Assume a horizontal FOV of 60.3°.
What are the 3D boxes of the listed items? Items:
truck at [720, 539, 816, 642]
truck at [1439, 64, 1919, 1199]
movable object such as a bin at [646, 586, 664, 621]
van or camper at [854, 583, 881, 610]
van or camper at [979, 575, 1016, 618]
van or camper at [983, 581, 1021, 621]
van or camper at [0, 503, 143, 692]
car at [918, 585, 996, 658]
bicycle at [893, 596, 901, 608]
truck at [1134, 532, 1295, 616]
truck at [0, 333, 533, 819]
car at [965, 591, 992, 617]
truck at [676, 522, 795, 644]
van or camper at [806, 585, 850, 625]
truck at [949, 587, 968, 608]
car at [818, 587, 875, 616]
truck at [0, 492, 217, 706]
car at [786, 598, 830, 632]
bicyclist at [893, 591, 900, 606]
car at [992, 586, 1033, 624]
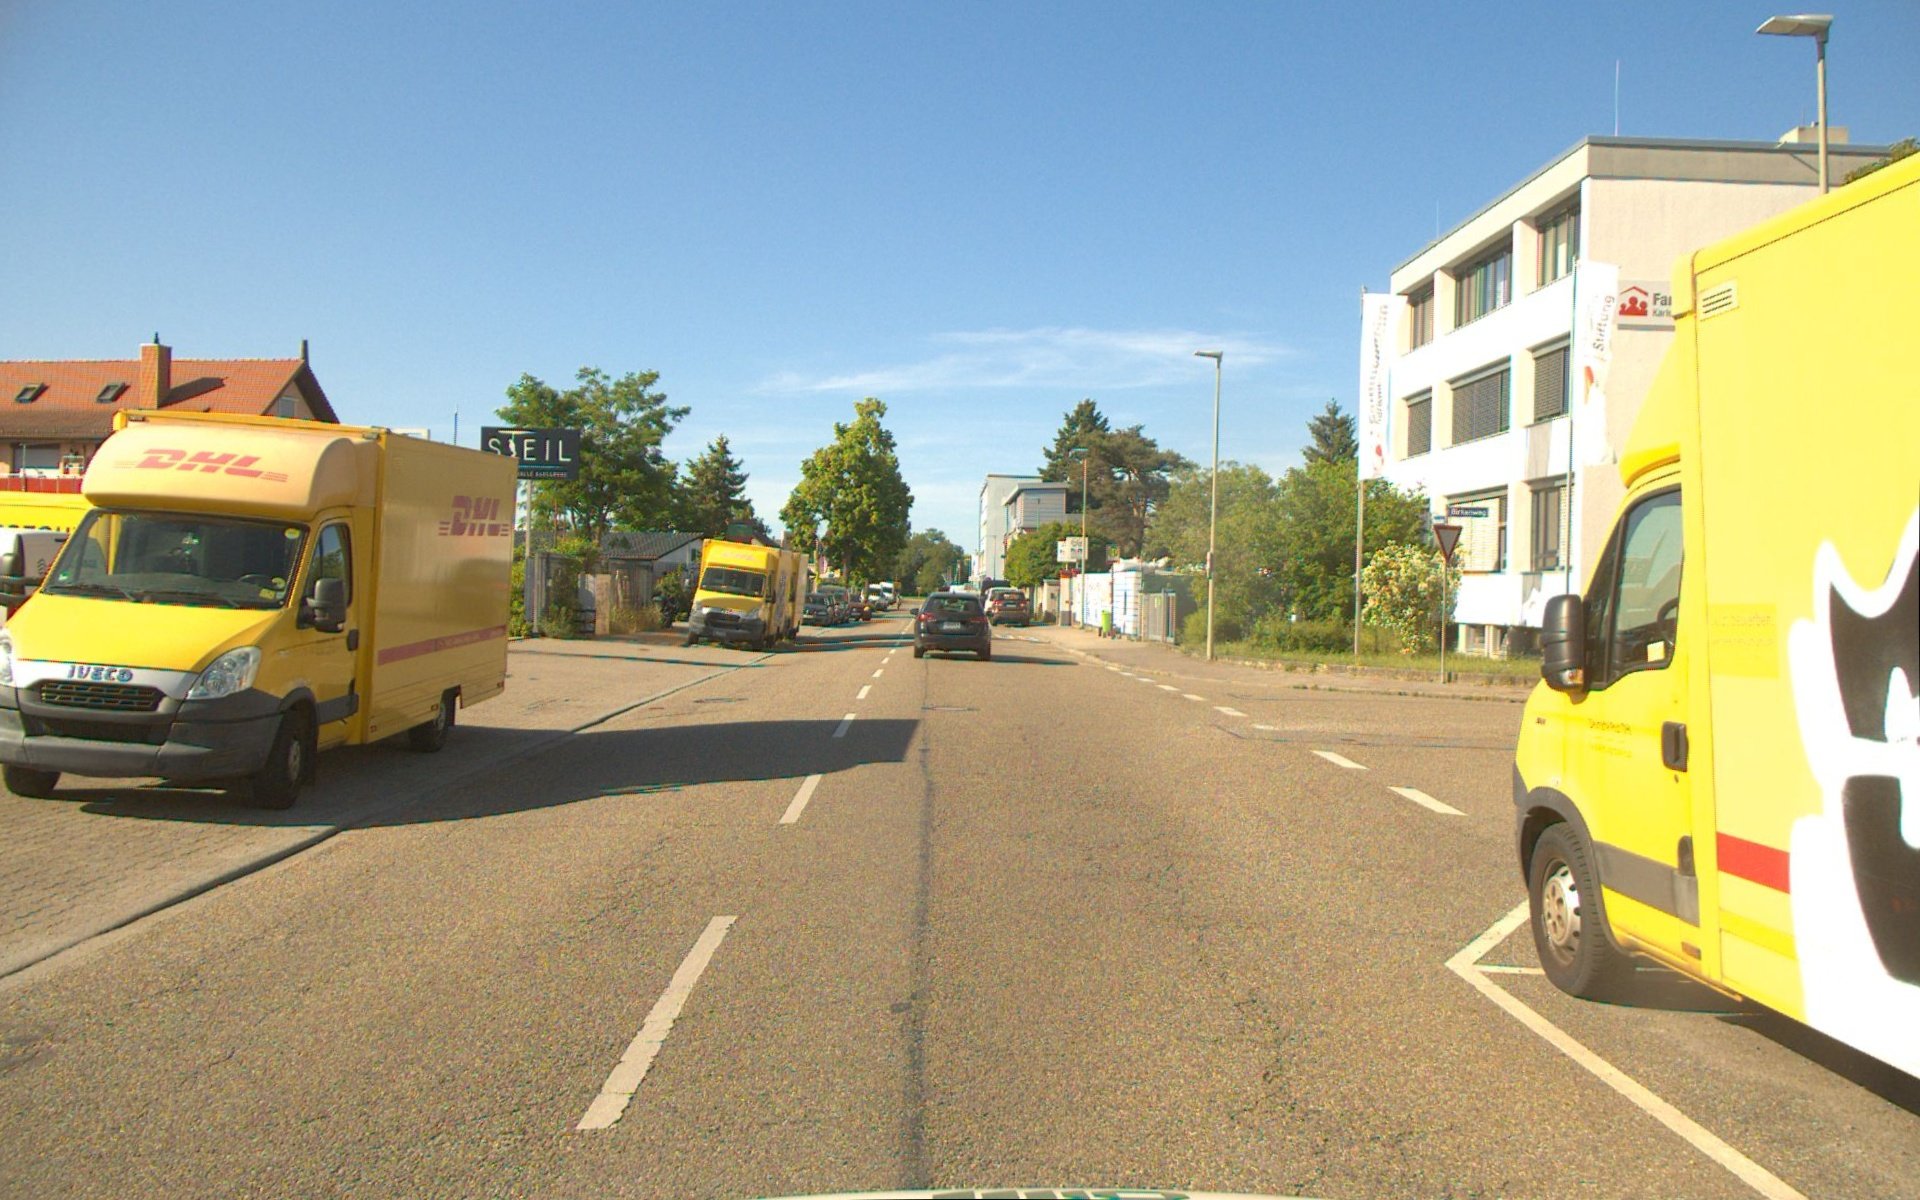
[{"bbox_3d":[-6.037,-0.306,52.925,2.148,2.952,6.438,3,0,0],"label":"truck"},{"bbox_3d":[3.579,0.141,4.515,2.354,2.988,7.014,-1,0,-1],"label":"truck"},{"bbox_3d":[-12.073,0.137,65.422,0.573,1.363,0.549,1,0,-1],"label":"movable object such as a bin"},{"bbox_3d":[-8.721,-0.367,155.752,2.278,2.403,6.522,1,0,-5],"label":"van or camper"},{"bbox_3d":[2.137,-0.221,95.081,1.953,2.351,3.999,1,0,-1],"label":"van or camper"},{"bbox_3d":[2.258,0.051,89.968,1.880,2.055,4.079,1,0,-1],"label":"van or camper"},{"bbox_3d":[-12.322,-0.071,19.284,4.447,2.049,2.252,1,0,5],"label":"van or camper"},{"bbox_3d":[-0.068,0.450,37.944,1.676,1.559,3.687,1,0,0],"label":"car"},{"bbox_3d":[-6.496,0.182,170.065,0.812,1.173,2.939,1,0,-2],"label":"bicycle"},{"bbox_3d":[12.338,-1.230,80.537,7.230,3.836,2.830,1,0,-5],"label":"truck"},{"bbox_3d":[-5.751,-0.177,14.257,2.355,3.035,7.242,3,0,-2],"label":"truck"},{"bbox_3d":[1.375,0.310,122.648,1.880,1.857,4.079,1,0,-1],"label":"car"},{"bbox_3d":[-6.100,-0.438,45.895,2.354,3.035,6.372,3,0,-1],"label":"truck"},{"bbox_3d":[-6.689,0.244,84.147,1.852,1.959,4.266,0,0,0],"label":"van or camper"},{"bbox_3d":[-0.182,-0.289,189.272,1.953,2.327,6.954,1,0,-1],"label":"truck"},{"bbox_3d":[-6.235,0.053,90.497,1.852,1.511,4.013,0,1,-25],"label":"car"},{"bbox_3d":[-13.361,-0.133,22.252,5.795,2.612,2.225,3,0,10],"label":"truck"},{"bbox_3d":[-6.791,0.653,74.338,1.722,1.428,4.555,1,0,-3],"label":"car"},{"bbox_3d":[-6.521,-0.137,170.077,0.681,1.566,0.635,1,0,-3],"label":"bicyclist"},{"bbox_3d":[2.645,0.257,84.186,1.880,1.857,4.079,1,0,-1],"label":"car"}]
